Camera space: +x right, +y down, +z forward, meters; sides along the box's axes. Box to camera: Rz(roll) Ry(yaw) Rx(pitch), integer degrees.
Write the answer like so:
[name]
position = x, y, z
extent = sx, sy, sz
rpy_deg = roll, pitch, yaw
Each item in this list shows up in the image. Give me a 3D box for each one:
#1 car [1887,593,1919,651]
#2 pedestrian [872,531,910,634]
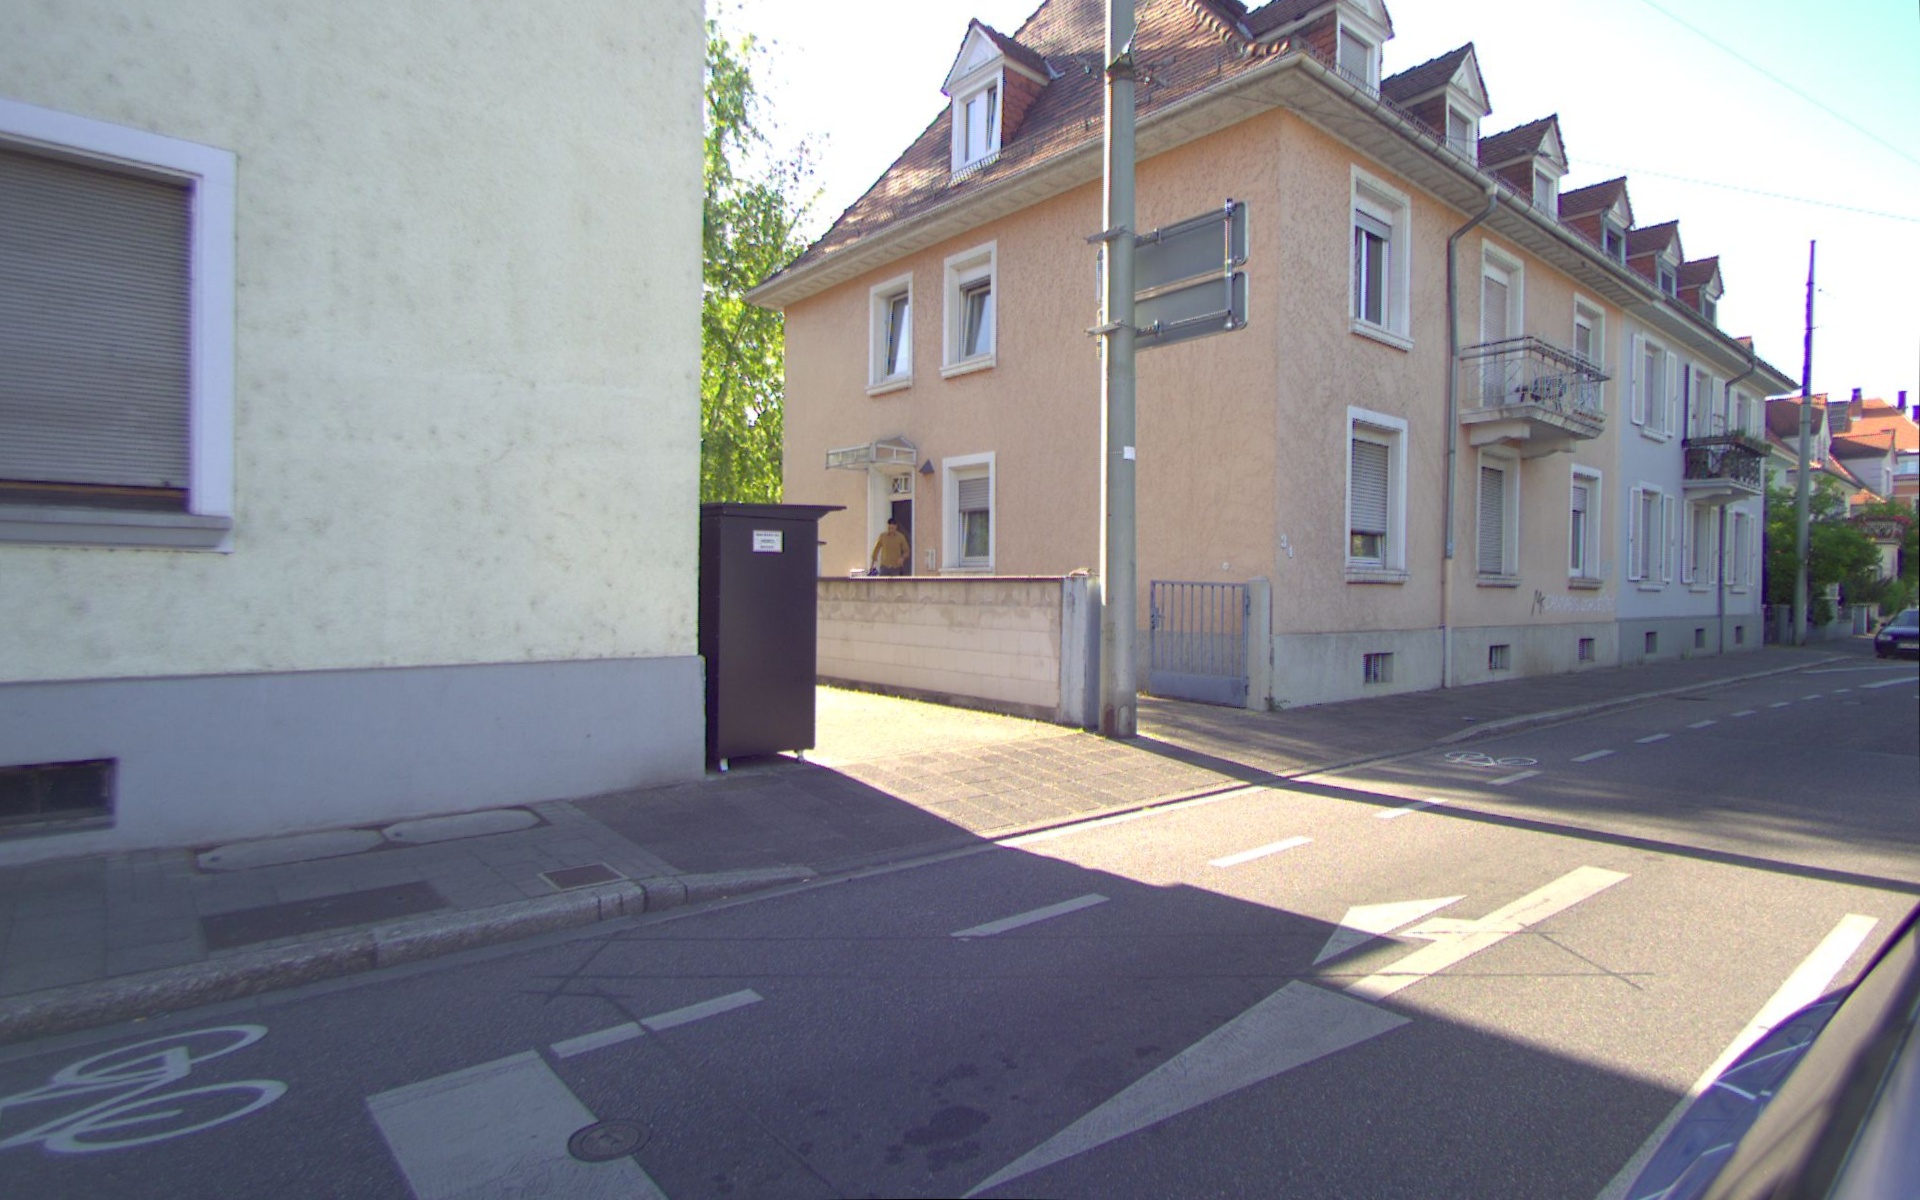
[car]
position = 26.843, 0.588, 27.382
extent = 3.925, 1.504, 1.883
rpy_deg = 0, 1, -37
[pedestrian]
position = -1.225, -0.311, 17.836
extent = 0.590, 1.783, 0.487
rpy_deg = 1, 0, -11
